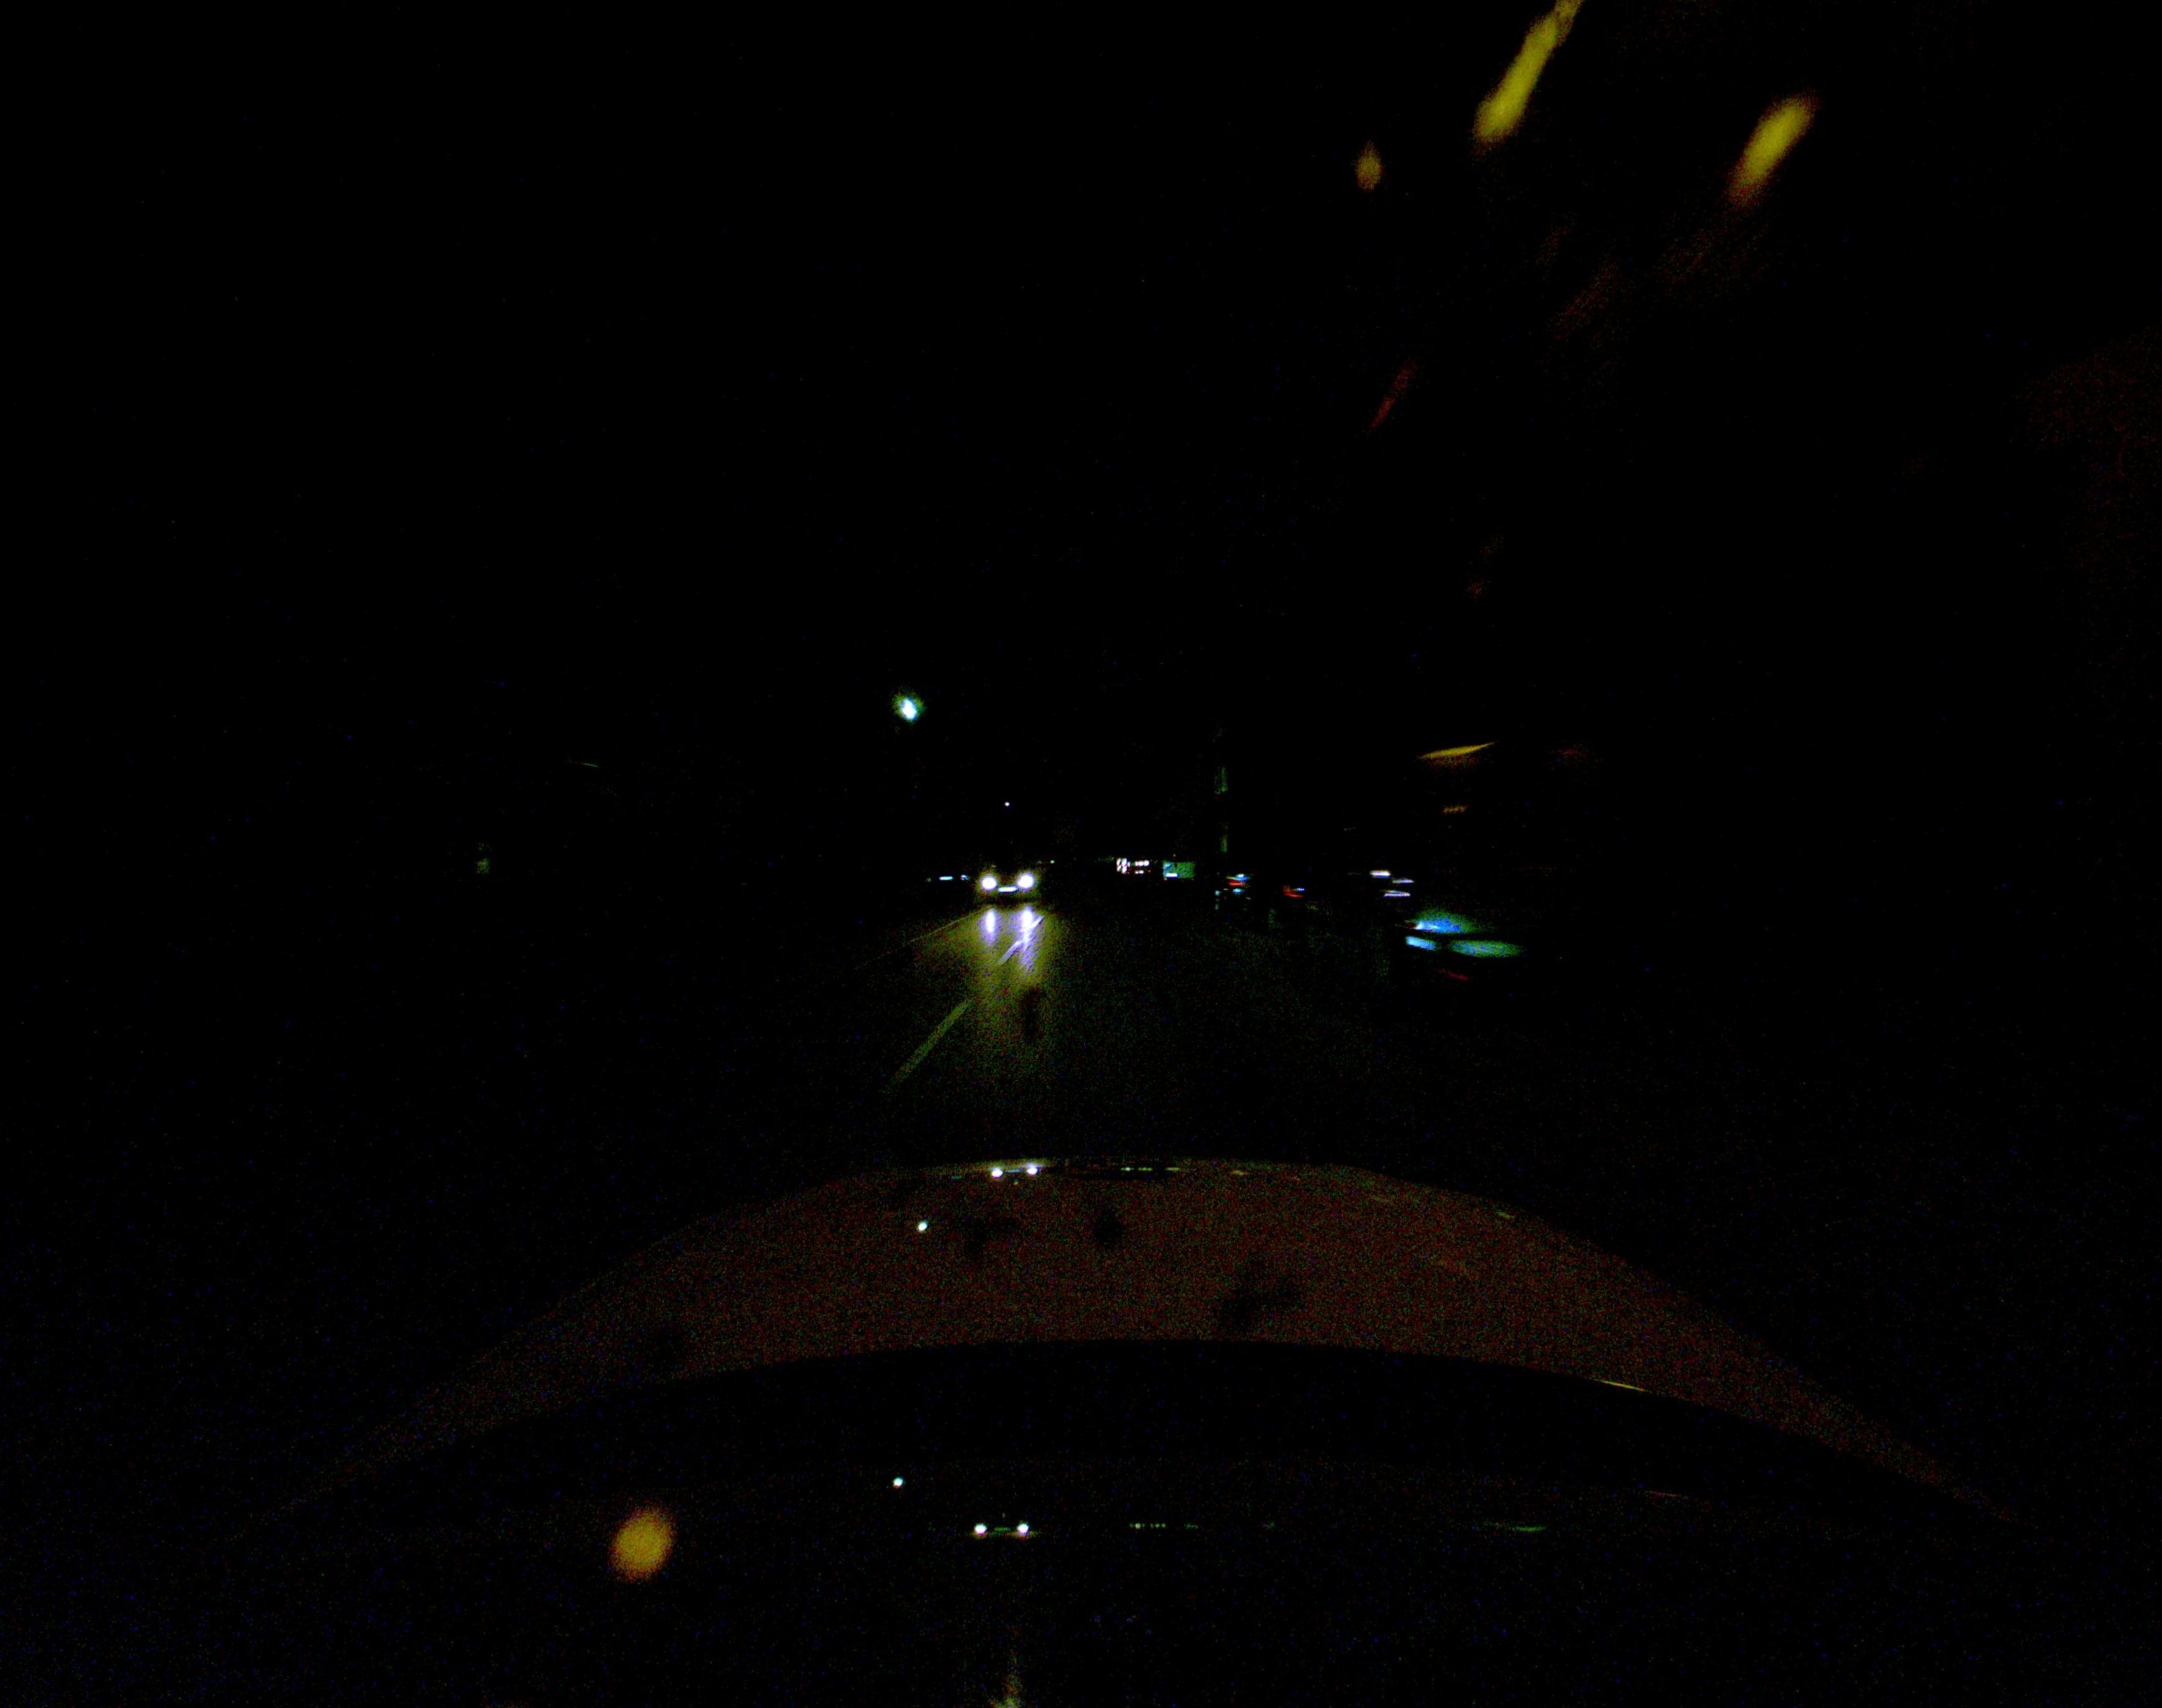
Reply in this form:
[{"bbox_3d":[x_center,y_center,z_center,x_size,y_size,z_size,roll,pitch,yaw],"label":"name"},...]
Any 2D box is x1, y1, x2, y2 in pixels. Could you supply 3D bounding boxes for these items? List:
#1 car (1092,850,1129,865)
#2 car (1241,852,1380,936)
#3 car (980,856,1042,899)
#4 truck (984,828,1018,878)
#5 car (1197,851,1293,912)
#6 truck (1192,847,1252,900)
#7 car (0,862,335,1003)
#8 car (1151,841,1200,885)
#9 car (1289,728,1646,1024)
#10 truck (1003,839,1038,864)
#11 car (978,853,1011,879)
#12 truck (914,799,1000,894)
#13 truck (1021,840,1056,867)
[{"bbox_3d":[3.749,0.466,104.443,4.343,1.646,1.879,-4,1,-21],"label":"car"},{"bbox_3d":[4.438,0.690,16.448,1.762,1.412,4.554,-2,0,3],"label":"car"},{"bbox_3d":[-2.486,0.815,29.751,1.851,1.420,4.000,-1,0,0],"label":"car"},{"bbox_3d":[-7.195,-0.041,72.990,2.769,4.120,9.321,-2,0,-6],"label":"truck"},{"bbox_3d":[4.433,0.674,22.796,1.938,1.489,5.015,-2,0,3],"label":"car"},{"bbox_3d":[4.766,0.639,27.873,1.366,1.644,3.812,-2,0,0],"label":"truck"},{"bbox_3d":[-12.680,0.936,11.112,4.095,1.432,1.906,3,1,19],"label":"car"},{"bbox_3d":[4.784,0.435,41.825,1.986,2.013,4.913,-2,0,1],"label":"car"},{"bbox_3d":[4.101,0.176,10.039,1.984,2.526,5.917,1,0,5],"label":"car"},{"bbox_3d":[-9.782,-0.391,130.997,2.765,3.783,10.155,-2,0,-20],"label":"truck"},{"bbox_3d":[-5.993,0.811,56.970,1.939,1.717,5.192,-2,0,-3],"label":"car"},{"bbox_3d":[-5.784,-0.307,39.625,2.738,4.034,9.556,-1,0,-1],"label":"truck"},{"bbox_3d":[-6.420,-0.023,121.352,2.764,3.783,9.076,-2,0,-20],"label":"truck"}]
